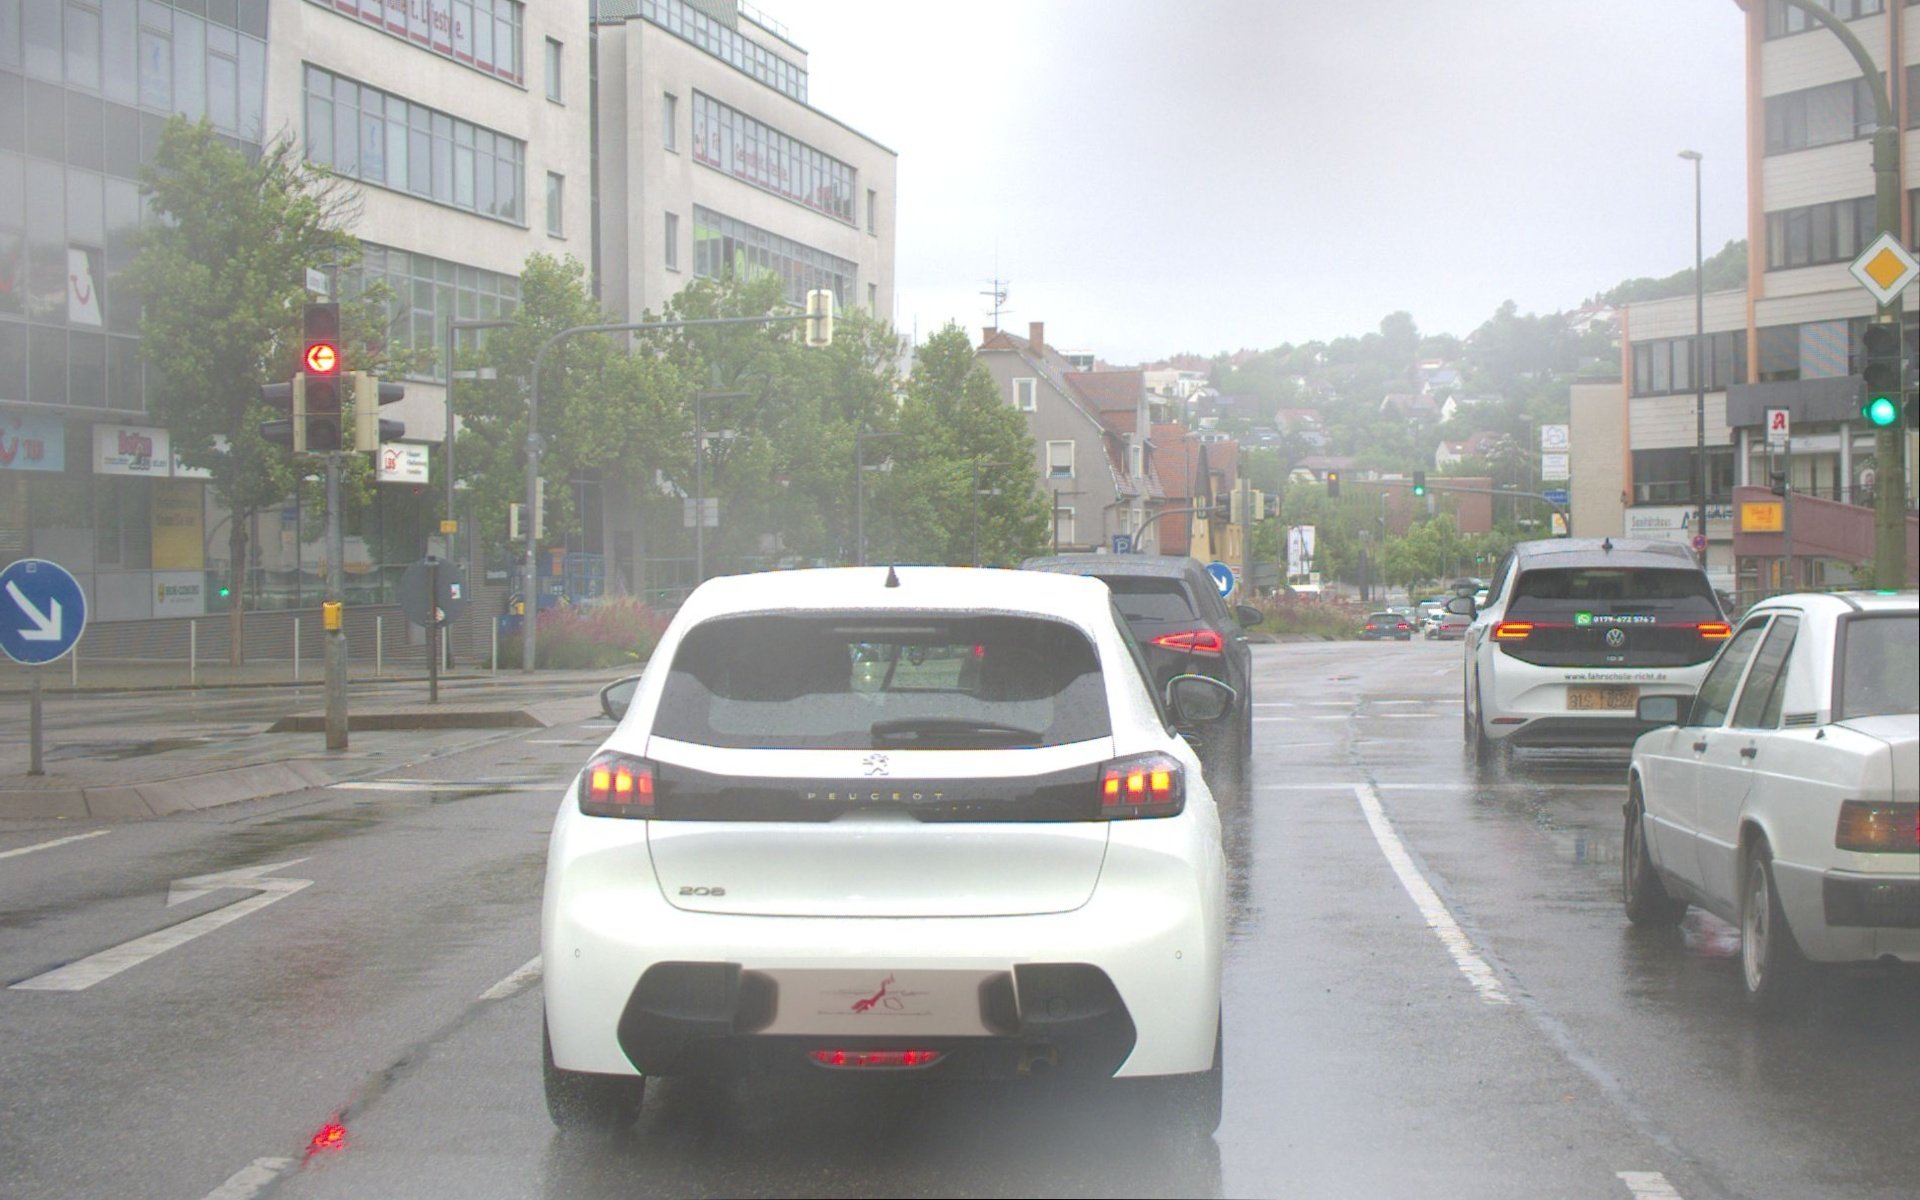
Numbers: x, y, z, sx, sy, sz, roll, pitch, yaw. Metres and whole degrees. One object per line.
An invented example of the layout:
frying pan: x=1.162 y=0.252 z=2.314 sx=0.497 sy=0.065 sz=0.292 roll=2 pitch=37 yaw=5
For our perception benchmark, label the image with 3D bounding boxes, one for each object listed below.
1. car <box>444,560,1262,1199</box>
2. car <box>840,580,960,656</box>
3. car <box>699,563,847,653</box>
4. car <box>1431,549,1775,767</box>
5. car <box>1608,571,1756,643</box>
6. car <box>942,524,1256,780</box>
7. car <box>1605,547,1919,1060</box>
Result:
car: x=-0.105 y=0.629 z=9.805 sx=1.872 sy=1.457 sz=3.872 roll=1 pitch=1 yaw=4
car: x=-1.366 y=0.405 z=80.173 sx=1.774 sy=1.588 sz=4.586 roll=-4 pitch=-1 yaw=11
car: x=-3.577 y=0.129 z=66.792 sx=1.921 sy=1.626 sz=4.901 roll=1 pitch=1 yaw=8
car: x=4.370 y=0.362 z=23.832 sx=1.912 sy=1.395 sz=3.457 roll=0 pitch=0 yaw=3
car: x=23.238 y=0.237 z=110.806 sx=1.993 sy=2.219 sz=4.977 roll=-1 pitch=0 yaw=-26
car: x=0.991 y=0.289 z=22.476 sx=1.816 sy=1.524 sz=3.812 roll=0 pitch=1 yaw=6
car: x=3.338 y=0.586 z=11.821 sx=1.634 sy=1.443 sz=4.268 roll=1 pitch=0 yaw=3
